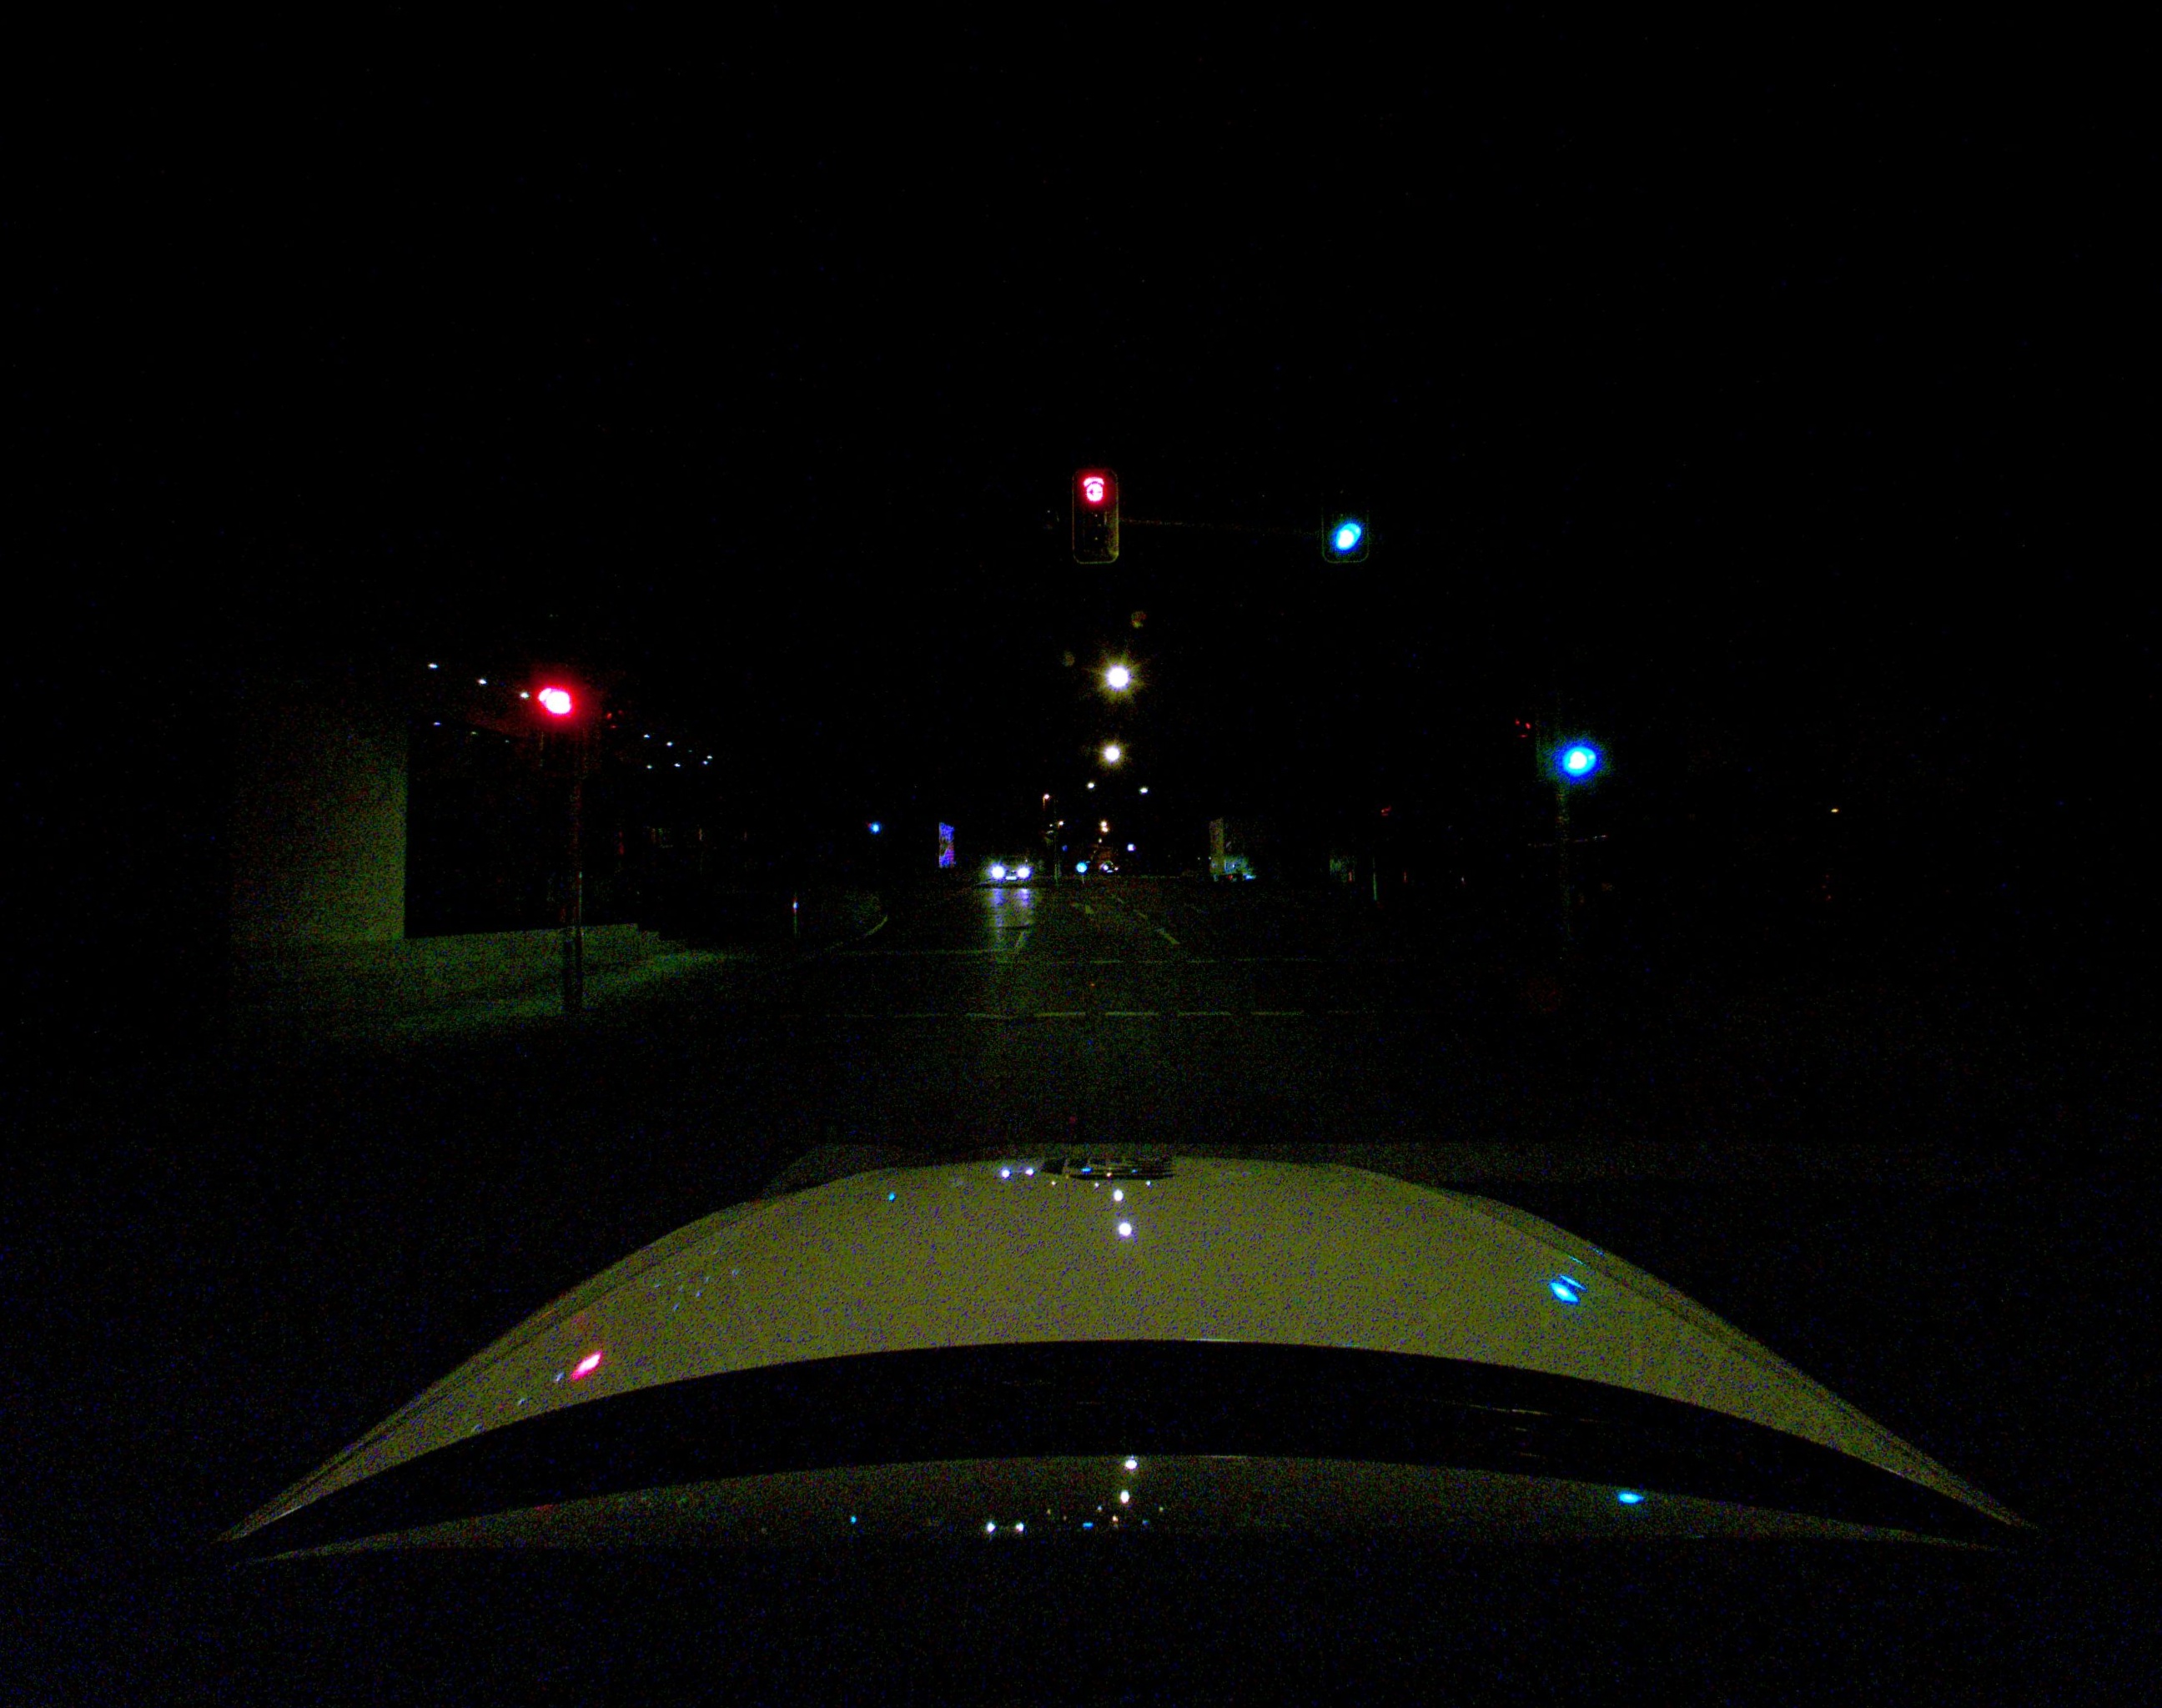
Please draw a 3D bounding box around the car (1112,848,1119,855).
[{"bbox_3d":[8.098,-0.580,192.029,1.628,1.452,3.486,0,0,2],"label":"car"}]

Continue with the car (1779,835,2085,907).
[{"bbox_3d":[17.279,0.351,16.742,4.107,1.280,1.770,-2,-1,9],"label":"car"}]

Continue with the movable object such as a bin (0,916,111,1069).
[{"bbox_3d":[-7.986,1.021,6.150,0.633,1.049,0.657,-1,-1,19],"label":"movable object such as a bin"}]

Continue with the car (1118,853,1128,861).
[{"bbox_3d":[7.425,0.547,143.871,1.628,1.452,3.486,0,0,2],"label":"car"}]

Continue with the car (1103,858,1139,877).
[{"bbox_3d":[3.425,1.104,69.109,1.566,1.501,3.417,-1,0,33],"label":"car"}]

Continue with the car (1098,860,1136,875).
[{"bbox_3d":[3.554,1.333,81.127,1.926,1.388,4.545,0,0,-25],"label":"car"}]

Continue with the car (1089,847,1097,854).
[{"bbox_3d":[2.803,-0.754,187.635,1.809,1.491,4.000,0,0,0],"label":"car"}]

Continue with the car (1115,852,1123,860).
[{"bbox_3d":[7.466,0.403,159.801,1.628,1.452,3.486,0,0,2],"label":"car"}]

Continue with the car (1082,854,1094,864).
[{"bbox_3d":[1.142,0.784,135.089,1.808,1.684,4.002,0,0,2],"label":"car"}]

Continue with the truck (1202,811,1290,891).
[{"bbox_3d":[6.921,-0.118,34.950,2.738,3.110,6.262,0,0,2],"label":"truck"}]

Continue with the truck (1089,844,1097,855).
[{"bbox_3d":[3.045,-1.120,210.275,2.079,2.848,5.831,0,0,0],"label":"truck"}]

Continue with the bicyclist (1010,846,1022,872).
[{"bbox_3d":[-4.016,0.312,50.363,0.688,1.637,0.896,-1,-1,1],"label":"bicyclist"}]

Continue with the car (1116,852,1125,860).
[{"bbox_3d":[7.405,0.353,153.615,1.628,1.452,3.486,0,0,2],"label":"car"}]

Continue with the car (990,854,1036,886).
[{"bbox_3d":[-3.337,0.760,40.621,1.851,1.534,4.028,0,0,1],"label":"car"}]
